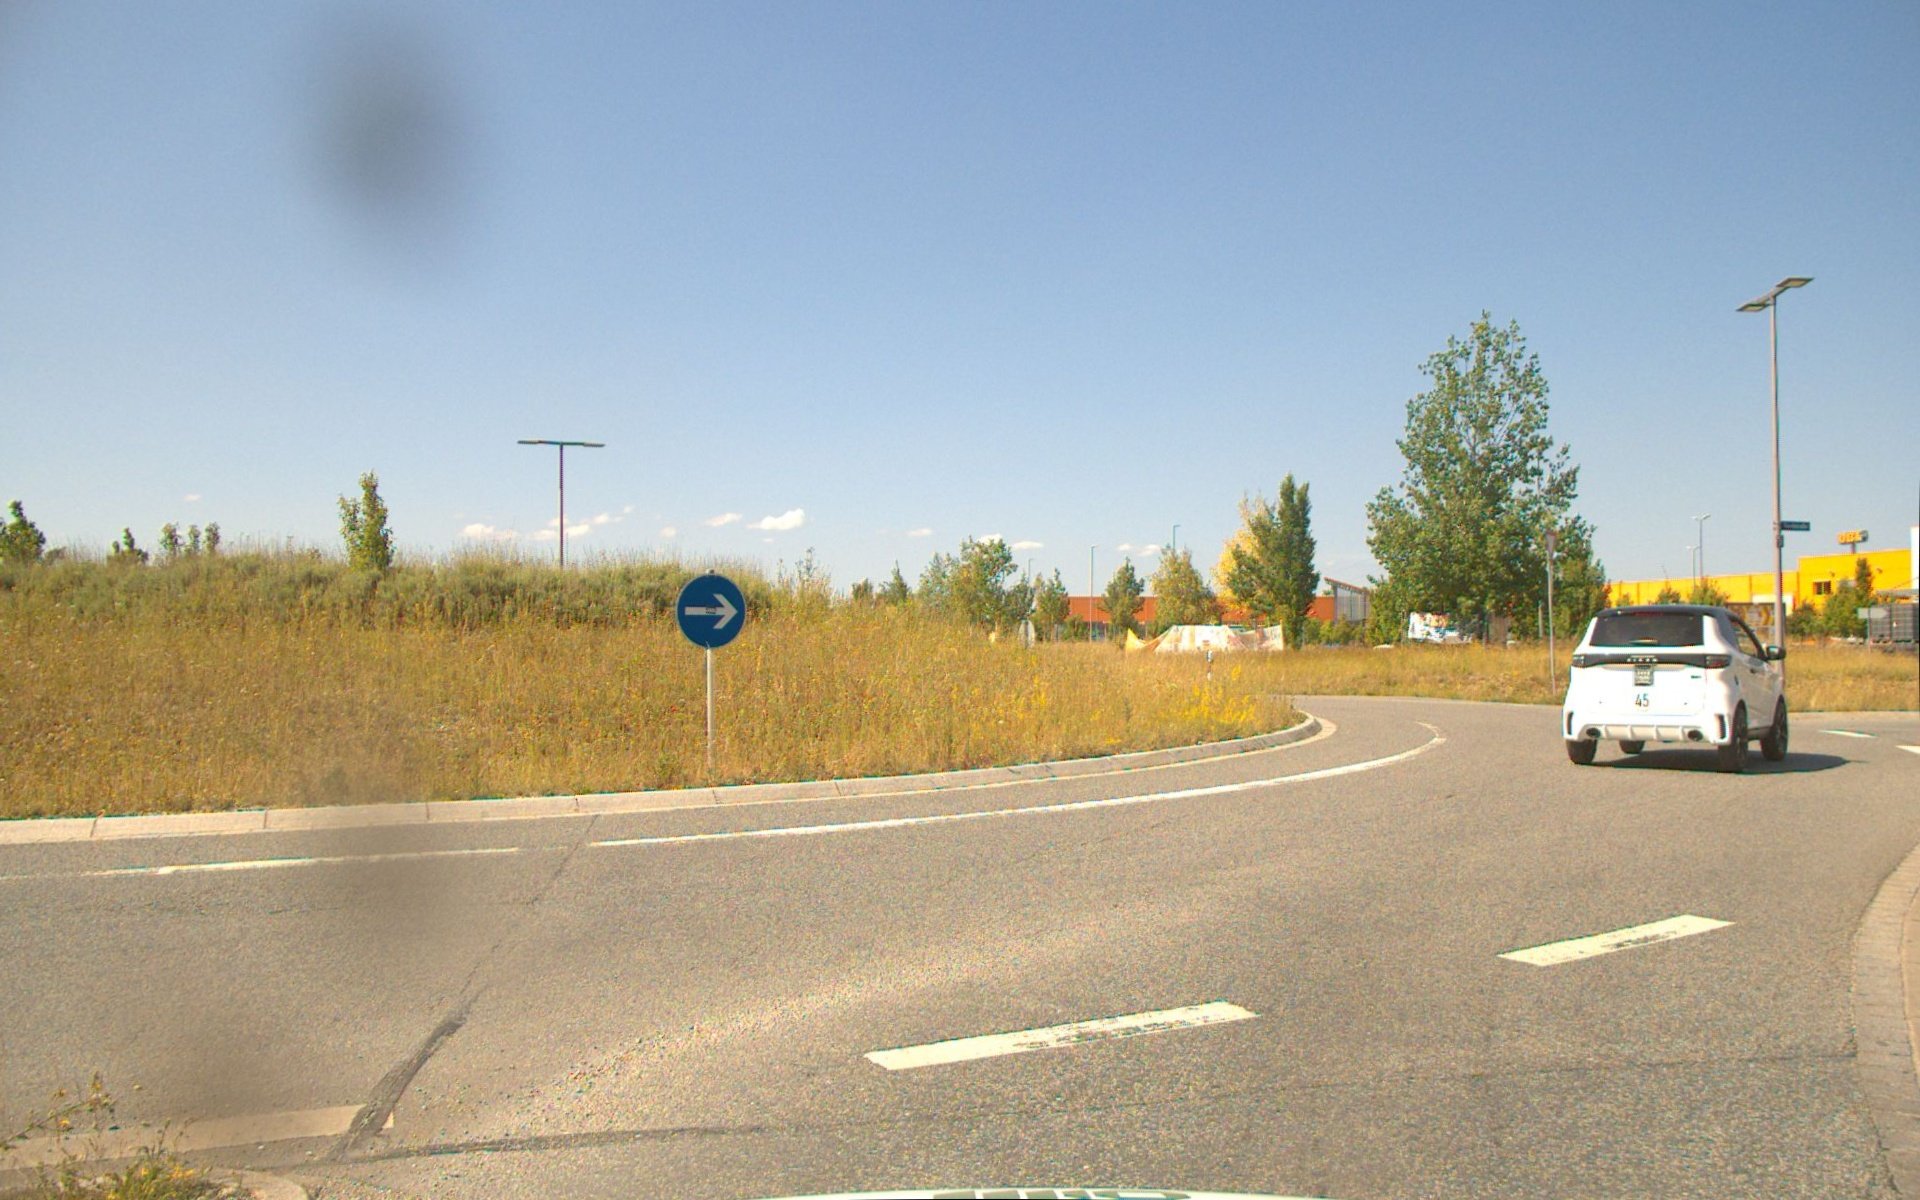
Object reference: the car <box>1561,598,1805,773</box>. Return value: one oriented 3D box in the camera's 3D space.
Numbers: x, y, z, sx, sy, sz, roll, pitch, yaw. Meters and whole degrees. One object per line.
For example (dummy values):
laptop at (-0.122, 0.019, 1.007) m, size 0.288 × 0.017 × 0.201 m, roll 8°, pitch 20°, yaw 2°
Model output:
car at (7.033, 0.725, 15.934) m, size 1.484 × 1.465 × 3.338 m, roll 1°, pitch 1°, yaw 36°
